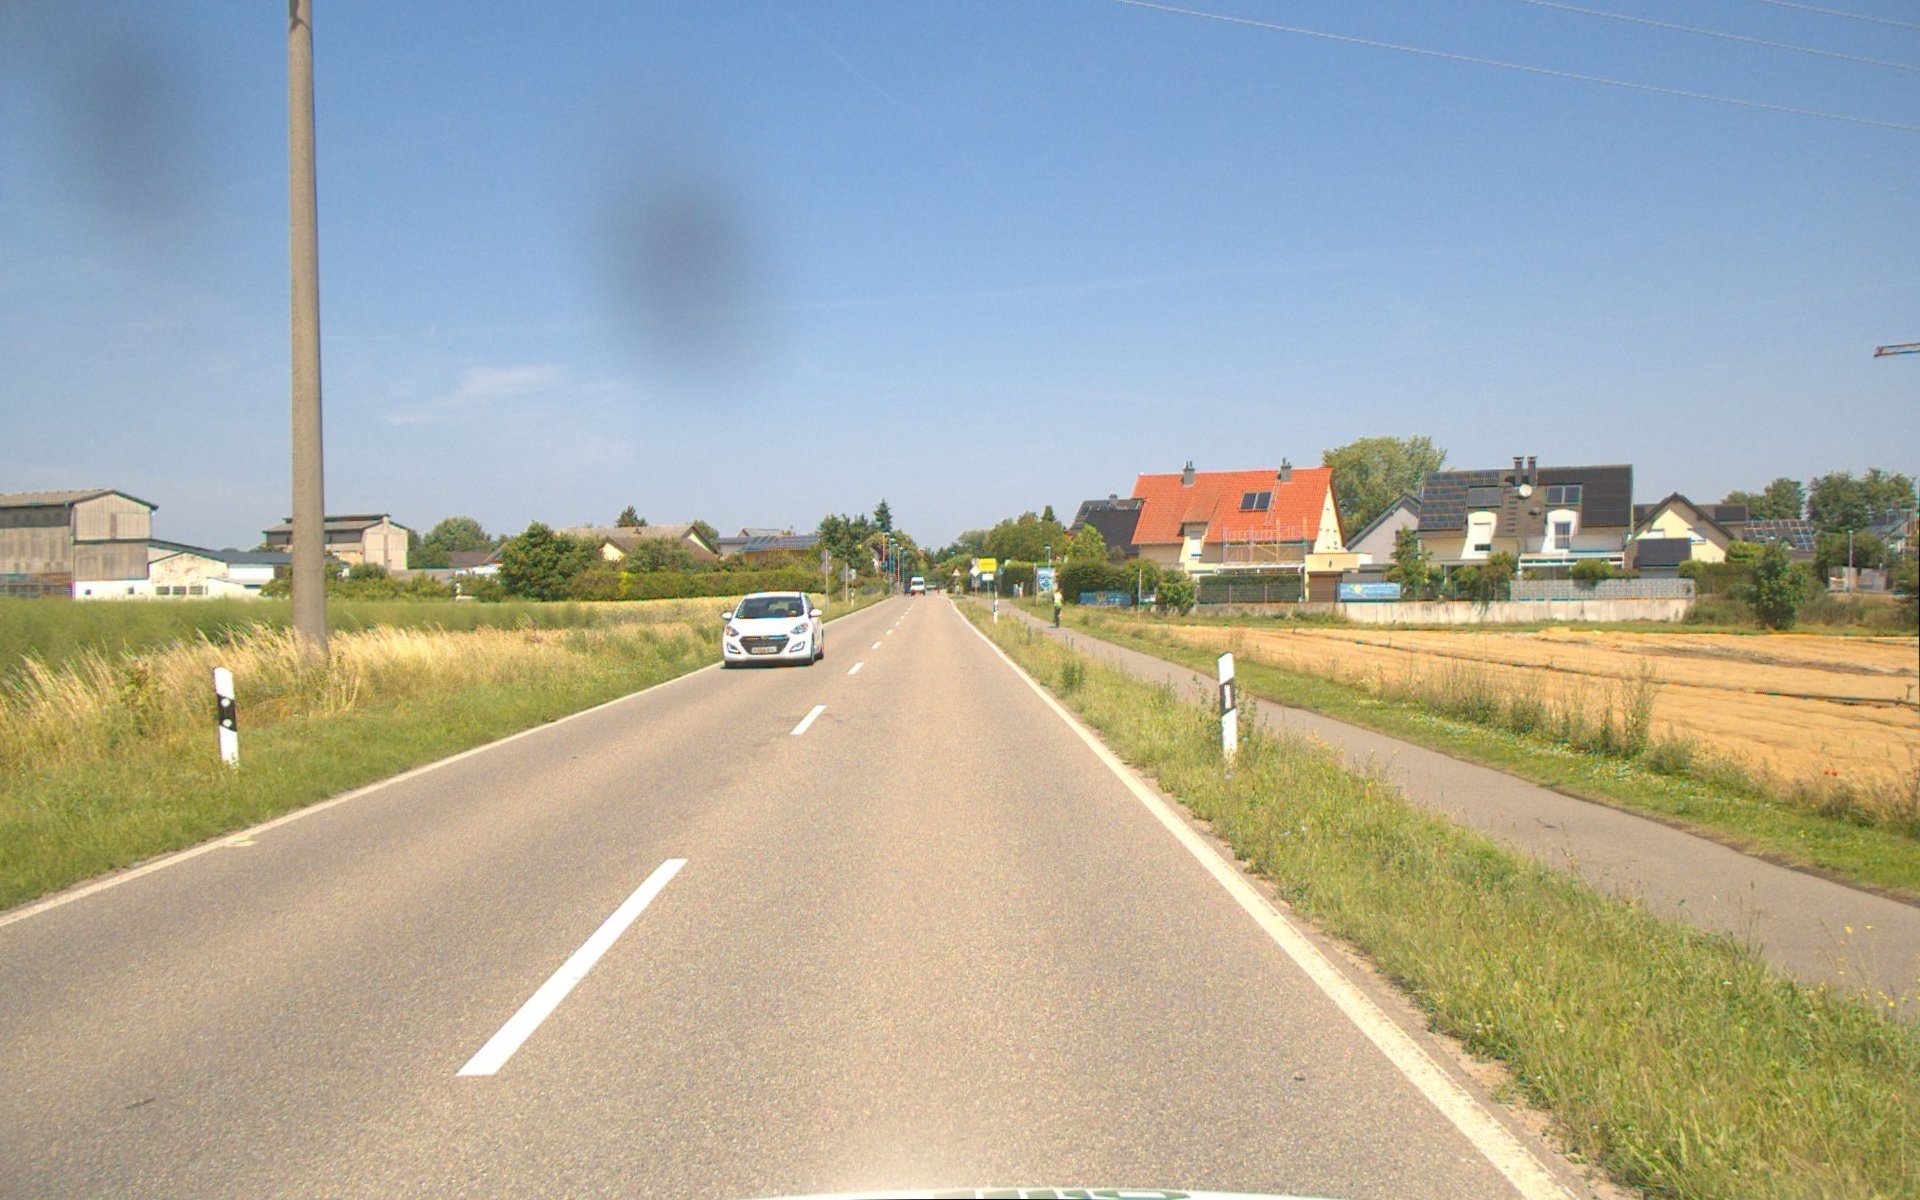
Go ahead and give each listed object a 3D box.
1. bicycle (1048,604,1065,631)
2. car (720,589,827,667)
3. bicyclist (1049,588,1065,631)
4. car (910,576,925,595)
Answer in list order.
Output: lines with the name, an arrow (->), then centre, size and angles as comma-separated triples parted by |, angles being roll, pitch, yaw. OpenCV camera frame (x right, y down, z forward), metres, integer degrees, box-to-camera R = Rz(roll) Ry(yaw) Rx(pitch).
bicycle -> 4.483, 0.810, 76.957 | 0.598, 1.179, 2.274 | 1, 1, -2
car -> -3.734, 0.531, 33.750 | 1.755, 1.434, 4.185 | -2, 0, -1
bicyclist -> 4.497, 0.438, 76.842 | 0.632, 1.922, 0.861 | 1, 1, -2
car -> -6.164, -2.063, 238.633 | 2.035, 2.586, 5.872 | -2, 1, -1
